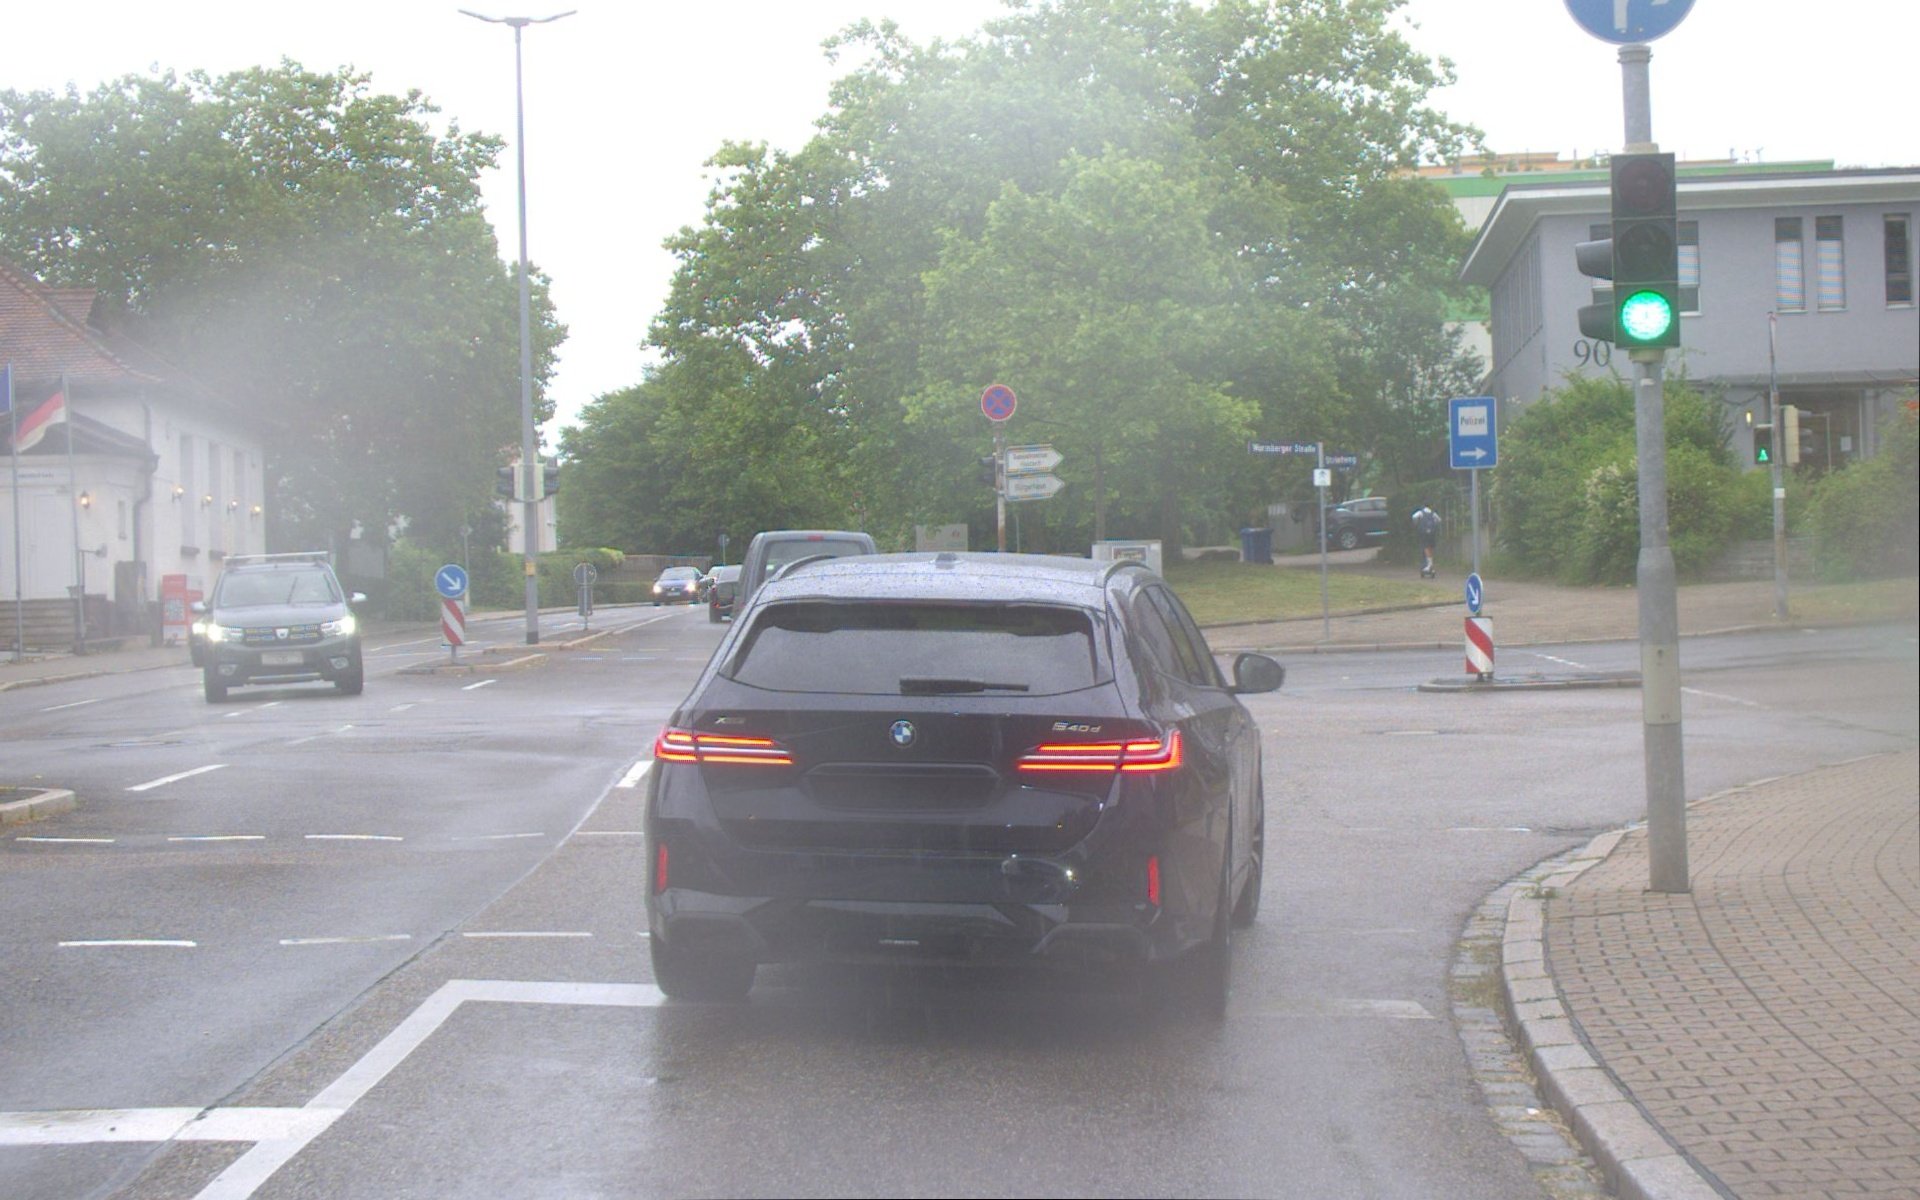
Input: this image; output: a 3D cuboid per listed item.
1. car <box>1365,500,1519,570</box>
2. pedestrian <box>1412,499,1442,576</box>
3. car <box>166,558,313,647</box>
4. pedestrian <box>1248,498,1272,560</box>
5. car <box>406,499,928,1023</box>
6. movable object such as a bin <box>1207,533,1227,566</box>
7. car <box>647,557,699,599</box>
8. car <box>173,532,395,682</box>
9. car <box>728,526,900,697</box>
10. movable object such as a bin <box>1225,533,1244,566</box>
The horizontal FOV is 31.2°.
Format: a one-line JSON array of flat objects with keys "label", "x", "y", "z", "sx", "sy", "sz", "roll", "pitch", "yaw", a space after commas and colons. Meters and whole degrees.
[{"label": "car", "x": 12.715, "y": -1.700, "z": 90.787, "sx": 3.988, "sy": 1.810, "sz": 1.999, "roll": 0, "pitch": 0, "yaw": 8}, {"label": "pedestrian", "x": 9.774, "y": -1.311, "z": 71.982, "sx": 0.600, "sy": 1.611, "sz": 0.525, "roll": 0, "pitch": 0, "yaw": 6}, {"label": "car", "x": -12.782, "y": 0.014, "z": 61.244, "sx": 1.908, "sy": 1.422, "sz": 4.416, "roll": -2, "pitch": 1, "yaw": -4}, {"label": "pedestrian", "x": 8.602, "y": -2.028, "z": 98.690, "sx": 0.557, "sy": 1.757, "sz": 0.728, "roll": 0, "pitch": 0, "yaw": -5}, {"label": "car", "x": -0.970, "y": 0.472, "z": 11.849, "sx": 1.523, "sy": 1.529, "sz": 3.532, "roll": 0, "pitch": 0, "yaw": -4}, {"label": "movable object such as a bin", "x": 7.064, "y": -1.387, "z": 94.492, "sx": 0.450, "sy": 0.902, "sz": 0.462, "roll": 0, "pitch": 0, "yaw": 15}, {"label": "car", "x": -11.111, "y": -0.868, "z": 133.298, "sx": 1.793, "sy": 1.522, "sz": 4.209, "roll": -2, "pitch": 1, "yaw": -3}, {"label": "car", "x": -7.717, "y": 0.035, "z": 39.652, "sx": 1.898, "sy": 1.572, "sz": 4.503, "roll": -2, "pitch": 1, "yaw": -4}, {"label": "car", "x": -1.656, "y": 0.119, "z": 38.124, "sx": 1.812, "sy": 1.802, "sz": 3.757, "roll": 0, "pitch": 0, "yaw": -4}, {"label": "movable object such as a bin", "x": 7.535, "y": -1.386, "z": 94.358, "sx": 0.450, "sy": 0.902, "sz": 0.462, "roll": 0, "pitch": 0, "yaw": 15}]
